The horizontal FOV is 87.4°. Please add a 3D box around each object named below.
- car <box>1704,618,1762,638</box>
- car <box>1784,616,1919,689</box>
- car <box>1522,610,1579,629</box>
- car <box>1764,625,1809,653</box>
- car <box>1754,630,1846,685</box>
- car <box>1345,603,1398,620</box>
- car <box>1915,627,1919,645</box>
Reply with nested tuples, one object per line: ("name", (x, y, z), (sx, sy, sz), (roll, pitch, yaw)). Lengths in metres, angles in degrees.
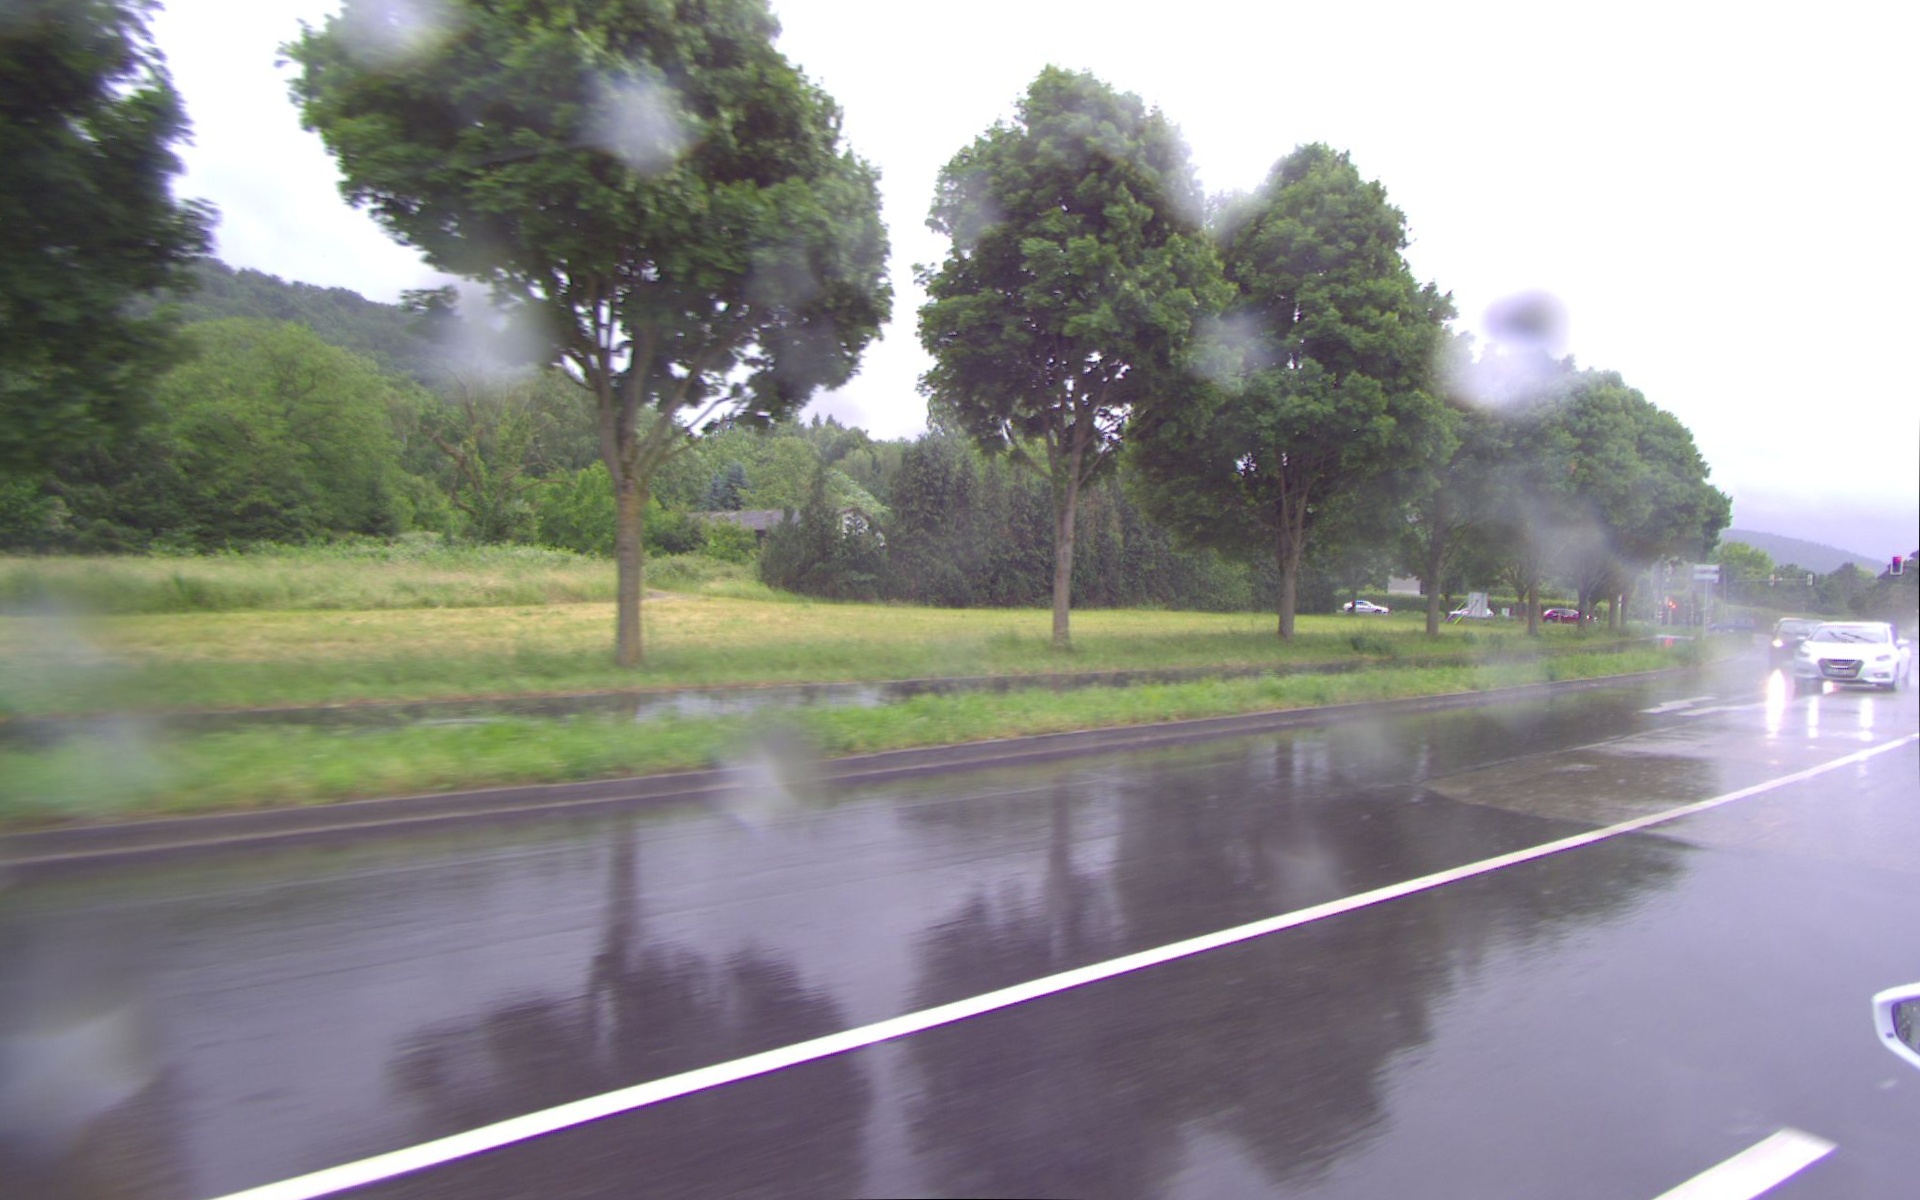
("car", (75.175, 2.701, 97.729), (1.721, 1.601, 4.193), (1, 2, -44))
("car", (20.402, 1.151, 22.938), (3.977, 1.507, 1.725), (2, -1, -39))
("car", (55.986, 1.842, 95.253), (1.721, 1.601, 4.331), (1, 2, -44))
("car", (49.126, 2.293, 59.660), (1.858, 1.594, 4.620), (1, -1, 42))
("car", (28.954, 1.935, 34.595), (4.089, 1.609, 1.866), (2, 2, -43))
("car", (43.778, 1.222, 106.915), (4.830, 1.574, 1.788), (3, 1, 44))
("car", (85.938, 3.238, 87.179), (1.721, 1.601, 4.332), (1, 2, -44))
